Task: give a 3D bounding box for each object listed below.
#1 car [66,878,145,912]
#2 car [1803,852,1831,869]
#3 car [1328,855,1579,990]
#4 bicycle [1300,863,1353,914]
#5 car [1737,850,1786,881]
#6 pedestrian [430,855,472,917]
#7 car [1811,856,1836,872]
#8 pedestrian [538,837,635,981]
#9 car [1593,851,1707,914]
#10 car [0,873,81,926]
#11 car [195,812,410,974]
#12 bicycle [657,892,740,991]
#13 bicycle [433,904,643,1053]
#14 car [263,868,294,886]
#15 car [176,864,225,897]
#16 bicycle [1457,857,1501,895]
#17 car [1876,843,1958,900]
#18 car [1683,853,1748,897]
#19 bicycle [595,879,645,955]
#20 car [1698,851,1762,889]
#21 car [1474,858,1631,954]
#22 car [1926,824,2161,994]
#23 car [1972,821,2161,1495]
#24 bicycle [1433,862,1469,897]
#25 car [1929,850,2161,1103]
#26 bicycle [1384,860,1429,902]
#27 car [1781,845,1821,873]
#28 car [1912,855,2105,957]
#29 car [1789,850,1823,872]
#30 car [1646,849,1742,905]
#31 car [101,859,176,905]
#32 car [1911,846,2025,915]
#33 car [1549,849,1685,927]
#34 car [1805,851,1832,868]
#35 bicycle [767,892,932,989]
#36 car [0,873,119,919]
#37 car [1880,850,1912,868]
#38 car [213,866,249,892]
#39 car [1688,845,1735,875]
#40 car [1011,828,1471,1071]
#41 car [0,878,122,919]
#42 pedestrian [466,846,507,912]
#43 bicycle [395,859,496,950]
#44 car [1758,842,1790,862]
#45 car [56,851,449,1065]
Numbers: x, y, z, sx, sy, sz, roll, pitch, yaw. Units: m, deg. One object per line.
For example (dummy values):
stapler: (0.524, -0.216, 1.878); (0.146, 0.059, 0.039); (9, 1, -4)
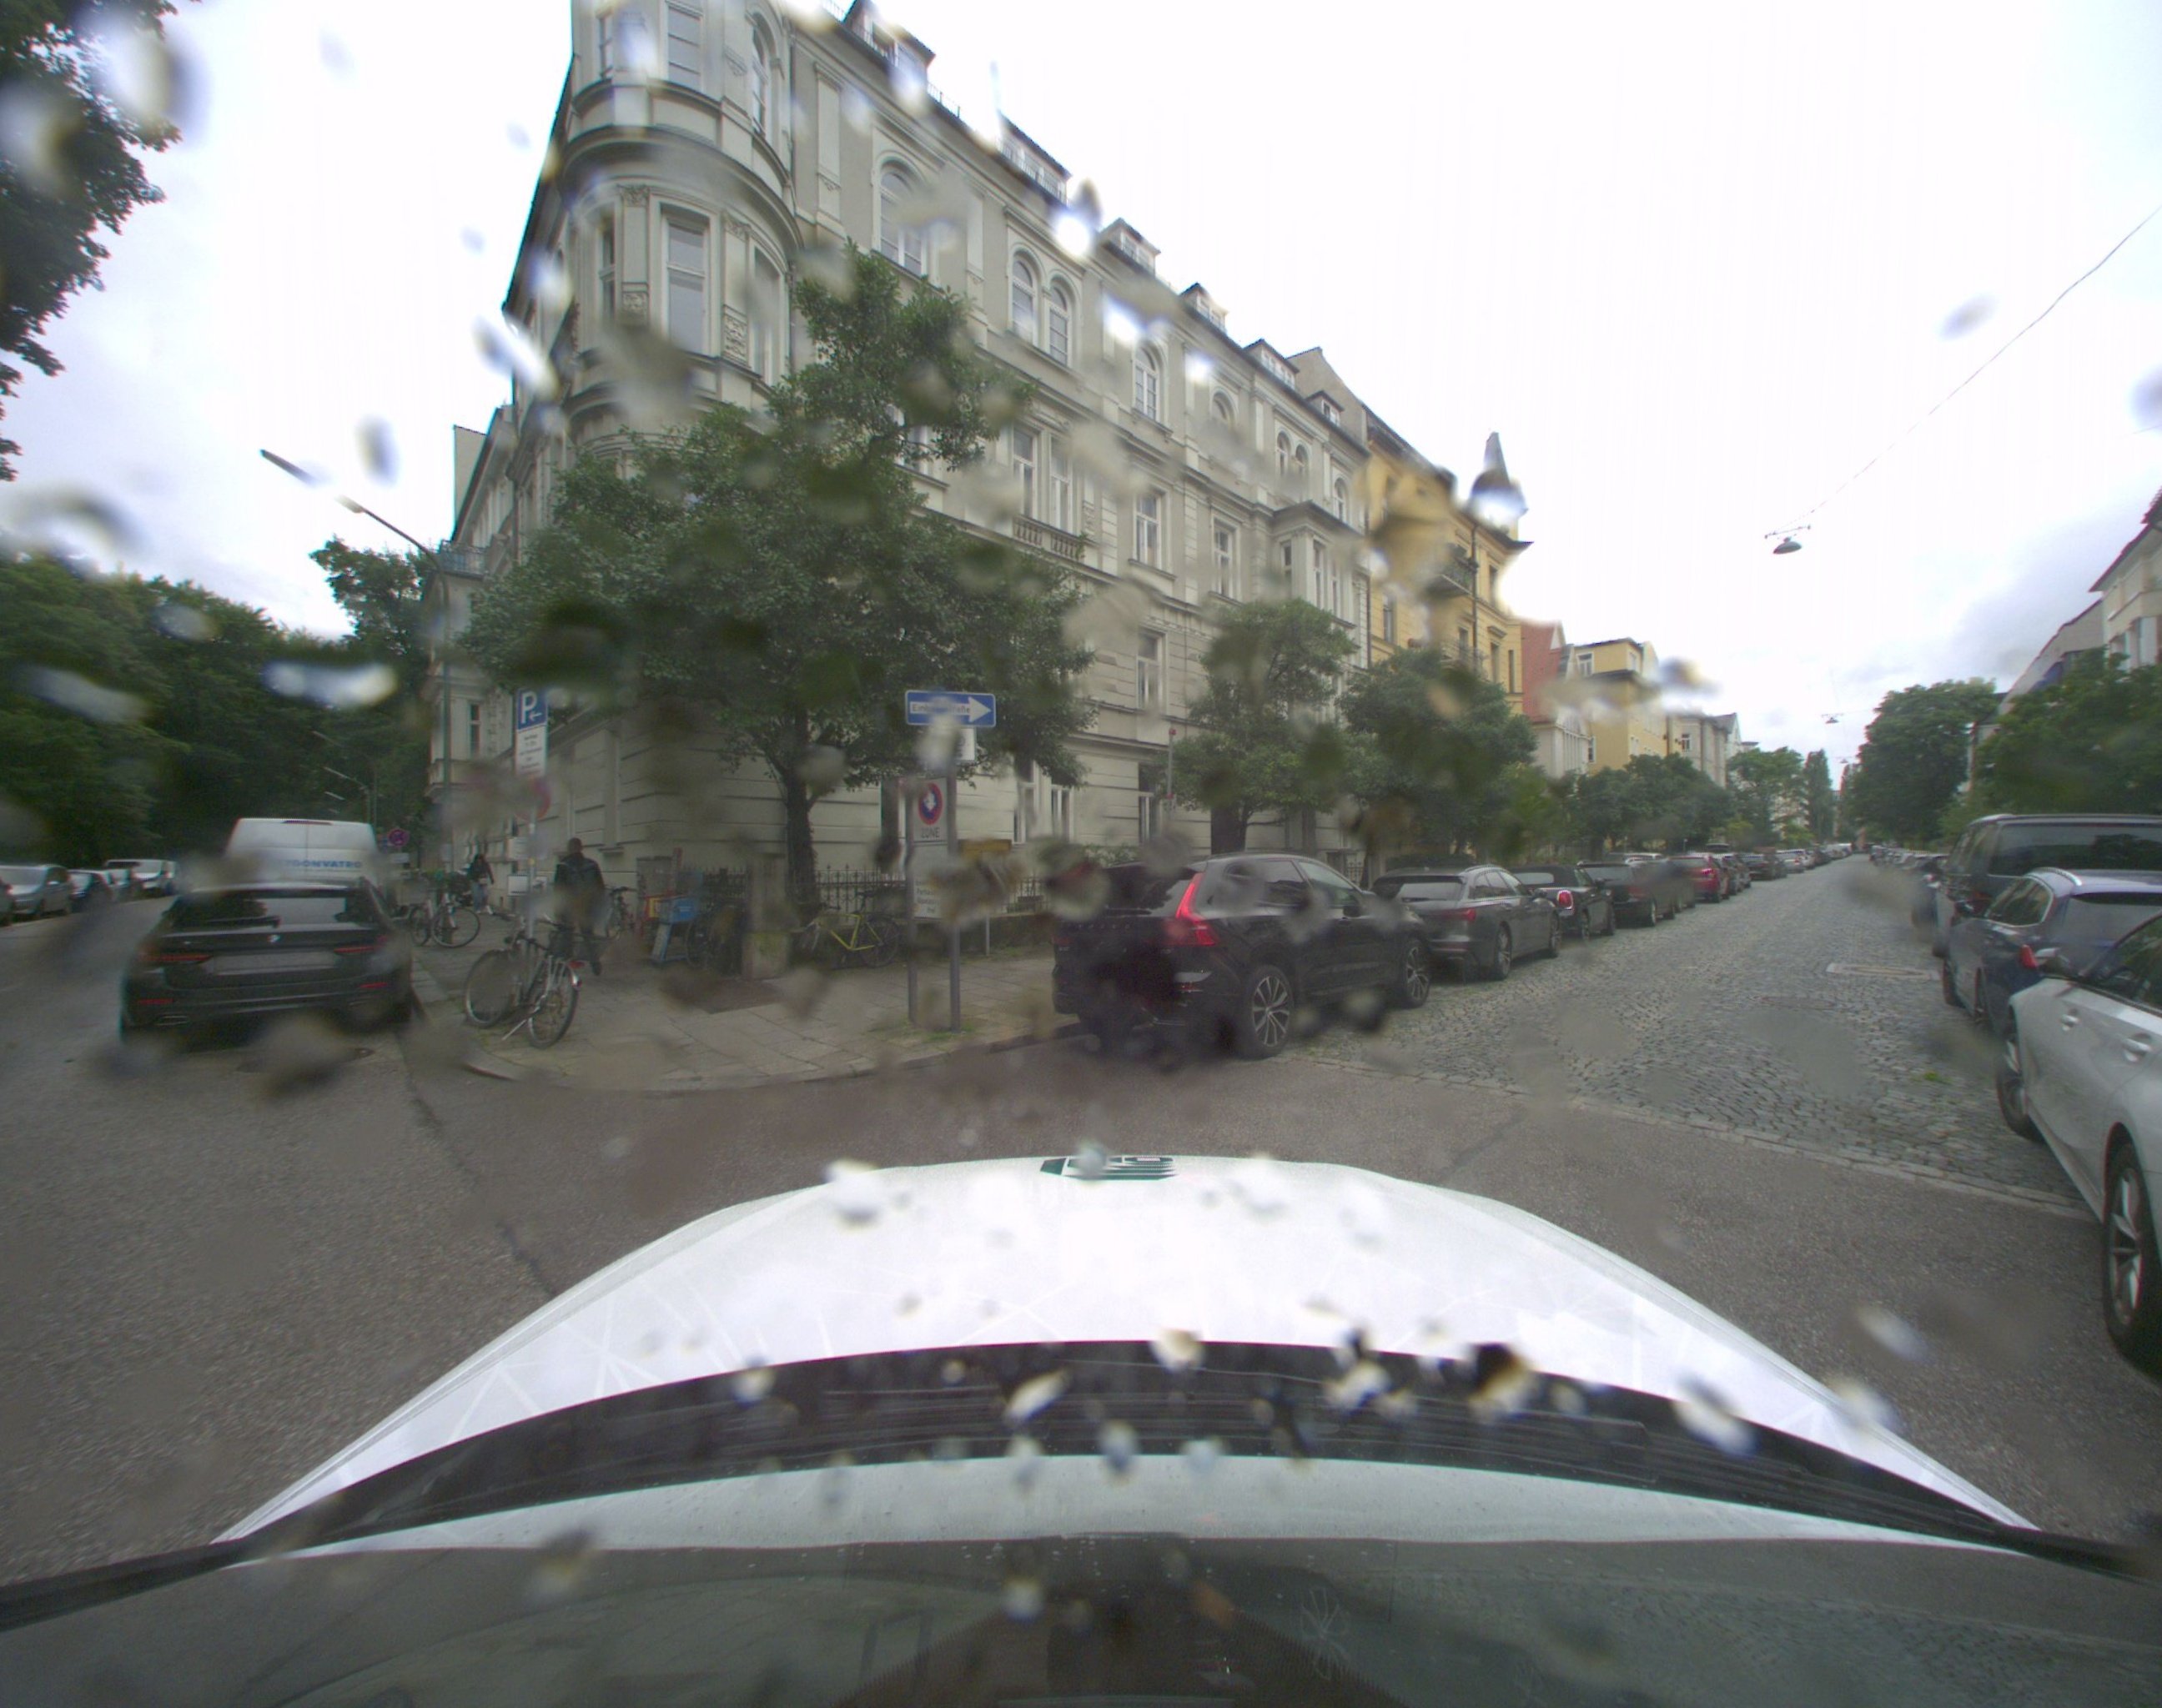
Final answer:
car: (-41.372, 1.695, 34.628); (4.048, 1.330, 1.836); (-1, -2, 44)
car: (74.940, 0.667, 82.955); (1.903, 1.635, 3.761); (-6, -4, 43)
car: (5.624, 0.831, 11.853); (1.787, 1.505, 5.209); (-4, -2, 42)
bicycle: (5.734, 0.782, 18.979); (0.359, 1.132, 1.898); (0, 0, 44)
car: (37.186, 0.605, 44.466); (1.903, 1.635, 3.762); (-1, -1, 42)
pedestrian: (-17.798, 0.888, 23.008); (0.866, 1.687, 0.767); (0, -1, -42)
car: (83.007, 1.125, 91.011); (1.903, 1.635, 3.761); (-6, -4, 43)
pedestrian: (-6.222, 0.650, 10.238); (0.865, 1.689, 0.964); (-1, 0, -41)
car: (15.892, 0.785, 22.672); (1.904, 1.546, 4.023); (-6, -5, 44)
car: (-33.416, 1.380, 25.491); (2.087, 1.520, 4.185); (2, -2, -43)
car: (-12.952, 0.552, 13.591); (2.224, 2.208, 4.795); (-2, 0, -45)
bicycle: (-4.801, 1.040, 10.161); (0.433, 1.028, 1.868); (0, 1, -42)
bicycle: (-4.791, 1.014, 7.131); (2.174, 1.028, 0.660); (0, 1, 31)
car: (-81.847, 2.316, 83.107); (2.011, 1.783, 3.952); (-1, 0, -41)
car: (-58.440, 1.736, 54.124); (4.259, 2.155, 2.066); (-1, -2, 44)
bicycle: (12.616, 0.681, 25.775); (1.771, 1.143, 0.415); (0, 0, -34)
car: (25.780, 0.536, 25.129); (3.559, 1.635, 1.645); (0, -2, -44)
car: (23.127, 0.748, 29.650); (2.665, 1.460, 1.418); (0, -5, -44)
bicycle: (-7.213, 0.941, 12.715); (0.550, 1.060, 1.732); (0, -1, -34)
car: (27.516, 0.682, 34.499); (3.504, 1.534, 1.645); (0, -2, -44)
car: (8.887, 0.891, 15.221); (1.687, 1.516, 3.749); (-4, -2, 43)
car: (12.083, 0.528, 10.122); (2.003, 1.690, 4.879); (-1, 0, 44)
car: (4.745, 0.697, 2.828); (1.889, 1.531, 4.951); (2, 2, 44)
bicycle: (11.183, 0.751, 24.593); (0.414, 1.027, 1.775); (0, 0, 45)
car: (8.330, 0.755, 6.508); (1.911, 1.506, 4.904); (1, 0, 44)
bicycle: (8.966, 0.724, 22.424); (1.843, 1.102, 0.368); (0, 0, -42)
car: (52.210, 0.347, 59.016); (1.903, 1.839, 3.761); (-6, -5, 43)
car: (15.935, 0.758, 14.243); (4.829, 1.434, 1.904); (0, 2, -45)
car: (61.065, 0.602, 68.613); (1.903, 1.635, 3.761); (-6, -4, 43)
car: (19.934, 0.735, 26.442); (1.904, 1.635, 3.828); (-6, -5, 44)
car: (-47.726, 1.378, 41.322); (2.020, 2.187, 4.638); (2, -2, -44)
car: (23.445, 0.636, 21.660); (4.069, 1.635, 1.904); (0, 1, -44)
car: (12.265, 0.745, 18.516); (1.710, 1.540, 4.362); (-6, -5, 44)
car: (78.539, 0.586, 86.693); (1.903, 1.635, 3.761); (-6, -4, 43)
bicycle: (-2.857, 1.034, 10.209); (1.939, 1.028, 0.550); (-1, 1, -41)
car: (-36.599, 1.458, 29.263); (1.977, 1.528, 3.995); (2, -2, -41)
car: (77.645, 0.488, 77.641); (1.903, 1.635, 3.761); (-6, -4, 43)
car: (-73.871, 2.159, 70.840); (4.259, 2.155, 2.066); (-1, -2, 44)
car: (35.954, 0.324, 46.407); (1.762, 1.635, 3.761); (-1, -1, 43)
car: (1.892, 0.733, 8.061); (1.919, 1.652, 5.083); (-6, -5, 44)
car: (-36.564, 1.553, 29.204); (2.136, 1.330, 4.089); (2, -2, -40)
pedestrian: (-16.710, 0.688, 22.876); (0.866, 1.835, 0.659); (0, -1, -42)
bicycle: (-11.303, 0.857, 14.468); (2.013, 1.515, 0.714); (-1, -1, 30)
car: (63.337, -0.180, 74.449); (1.903, 1.635, 3.761); (-6, -4, 43)
car: (-8.263, 0.813, 8.550); (2.292, 1.546, 4.532); (-2, 0, -41)
